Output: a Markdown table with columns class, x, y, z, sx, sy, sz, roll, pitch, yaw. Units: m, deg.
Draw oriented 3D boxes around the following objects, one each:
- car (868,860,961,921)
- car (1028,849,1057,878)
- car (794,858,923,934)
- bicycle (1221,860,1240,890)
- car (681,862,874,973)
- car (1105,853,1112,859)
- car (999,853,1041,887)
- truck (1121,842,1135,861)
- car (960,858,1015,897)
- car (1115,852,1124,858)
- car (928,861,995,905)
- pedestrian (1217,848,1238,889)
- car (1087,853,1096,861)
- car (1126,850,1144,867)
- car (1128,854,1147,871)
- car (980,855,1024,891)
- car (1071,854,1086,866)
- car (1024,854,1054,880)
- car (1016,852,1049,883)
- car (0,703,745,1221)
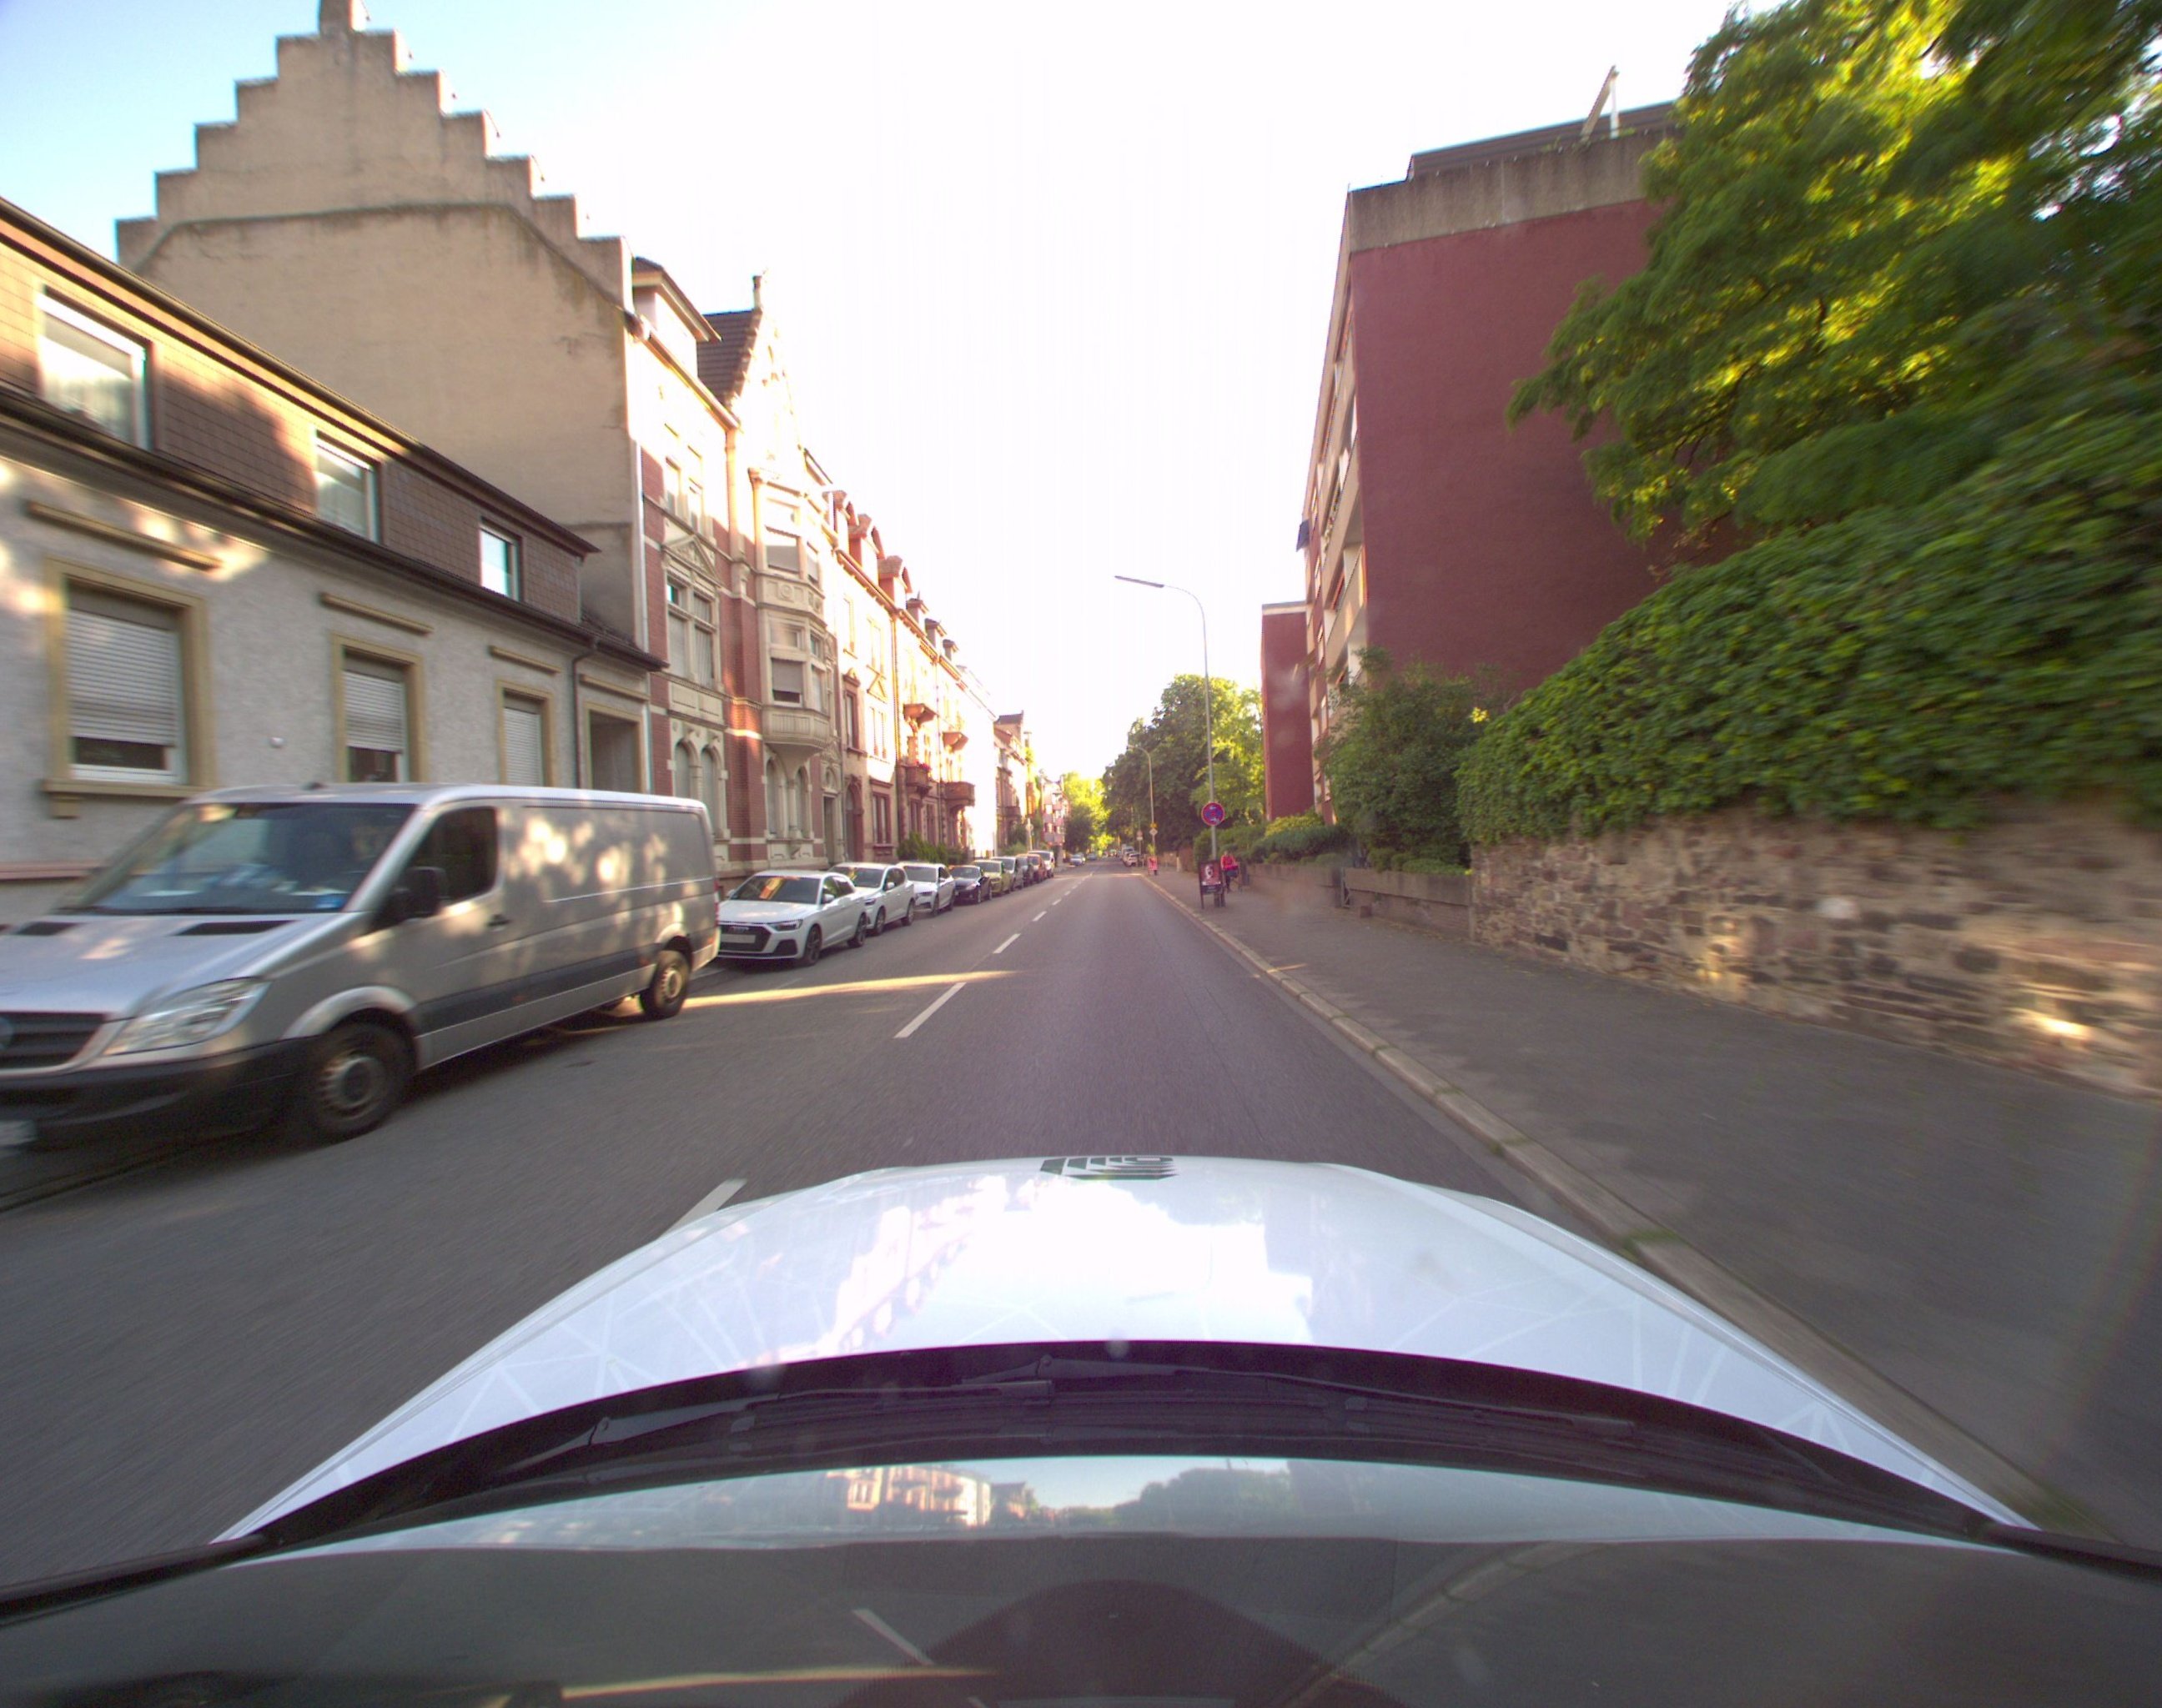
| class | x | y | z | sx | sy | sz | roll | pitch | yaw |
| --- | --- | --- | --- | --- | --- | --- | --- | --- | --- |
| car | -4.739 | 0.986 | 23.829 | 1.696 | 1.536 | 4.550 | -1 | 0 | 1 |
| car | -2.773 | 0.626 | 59.876 | 1.786 | 2.010 | 4.698 | -1 | 0 | 1 |
| car | -5.006 | 0.888 | 18.878 | 1.696 | 1.503 | 4.023 | -1 | 0 | 2 |
| bicycle | 5.084 | 0.708 | 27.760 | 0.564 | 0.970 | 0.492 | -1 | 1 | 0 |
| car | -4.823 | 0.922 | 13.552 | 1.696 | 1.503 | 3.824 | -1 | 0 | 1 |
| car | 8.772 | 0.628 | 257.984 | 1.986 | 1.491 | 4.473 | -3 | 1 | 2 |
| car | -3.238 | 0.819 | 44.223 | 1.695 | 1.707 | 4.444 | -1 | 0 | 3 |
| truck | 7.470 | -0.436 | 129.779 | 1.986 | 2.896 | 4.473 | -3 | 1 | 2 |
| car | -3.853 | 0.978 | 34.129 | 1.696 | 1.503 | 4.073 | -1 | -1 | 1 |
| car | 10.800 | 0.254 | 227.983 | 1.988 | 1.491 | 4.469 | -3 | 1 | -1 |
| car | -4.188 | 0.975 | 29.055 | 1.696 | 1.366 | 3.860 | -1 | 0 | 1 |
| pedestrian | 5.092 | 0.502 | 28.367 | 0.596 | 1.403 | 0.668 | -1 | 1 | 0 |
| car | 2.385 | 0.644 | 187.917 | 1.986 | 1.491 | 4.473 | -3 | 1 | 2 |
| car | 6.204 | 0.506 | 94.131 | 1.985 | 1.737 | 4.004 | -3 | 1 | 4 |
| car | 6.112 | 0.906 | 88.634 | 1.985 | 1.517 | 4.004 | -3 | 1 | 4 |
| car | -3.743 | 0.872 | 39.138 | 1.696 | 1.584 | 3.636 | -1 | 0 | 1 |
| car | -0.418 | 0.853 | 121.230 | 1.986 | 1.491 | 4.473 | -3 | 1 | 2 |
| car | -2.764 | 0.836 | 54.676 | 1.696 | 1.619 | 4.119 | -1 | 0 | 1 |
| car | -2.895 | 0.802 | 49.184 | 1.696 | 1.738 | 3.858 | -1 | 0 | 1 |
| car | -5.263 | 0.510 | 6.906 | 2.059 | 2.460 | 6.018 | -1 | 0 | 3 |
